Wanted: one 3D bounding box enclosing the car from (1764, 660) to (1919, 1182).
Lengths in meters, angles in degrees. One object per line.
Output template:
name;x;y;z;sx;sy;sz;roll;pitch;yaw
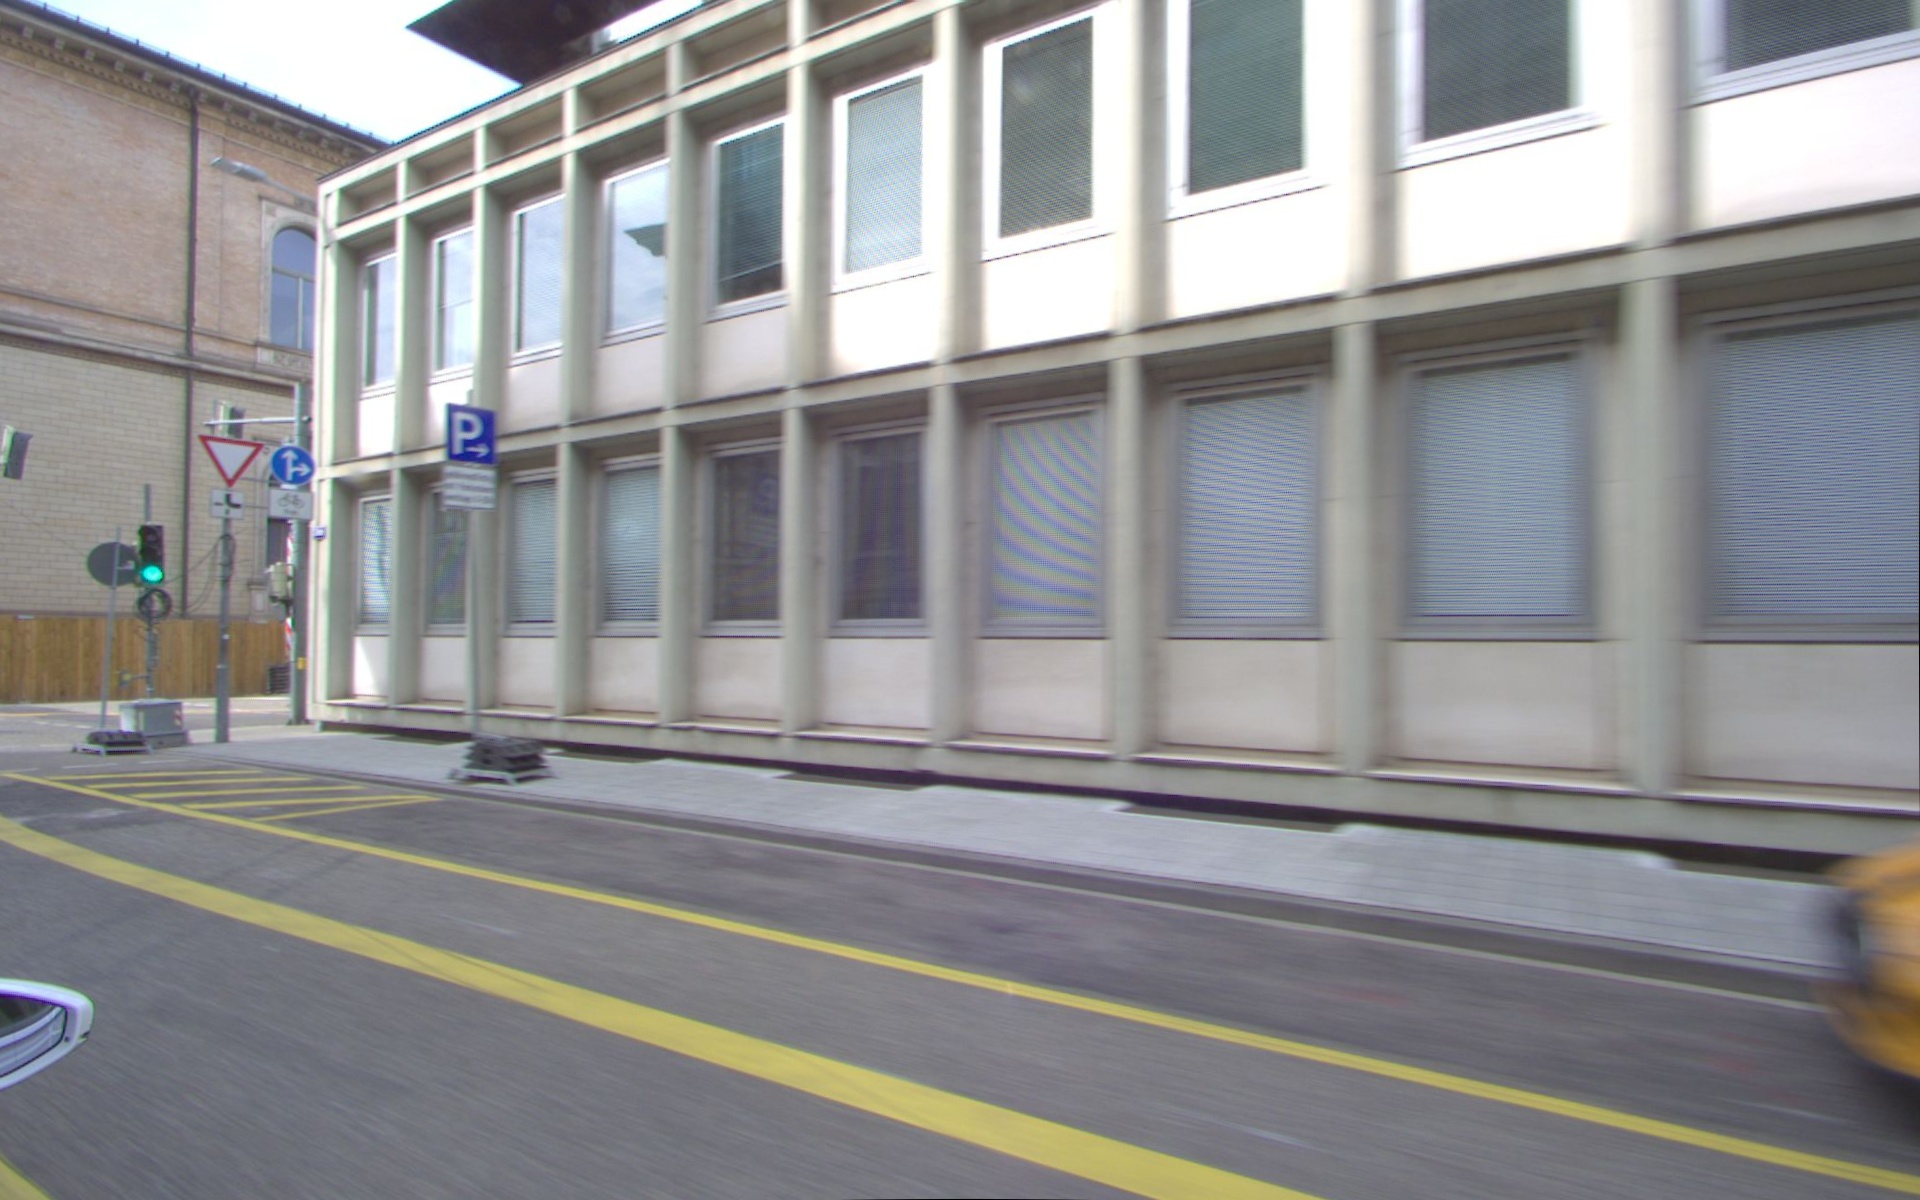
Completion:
car;4.624;0.971;2.567;3.832;1.452;1.678;0;-4;34
